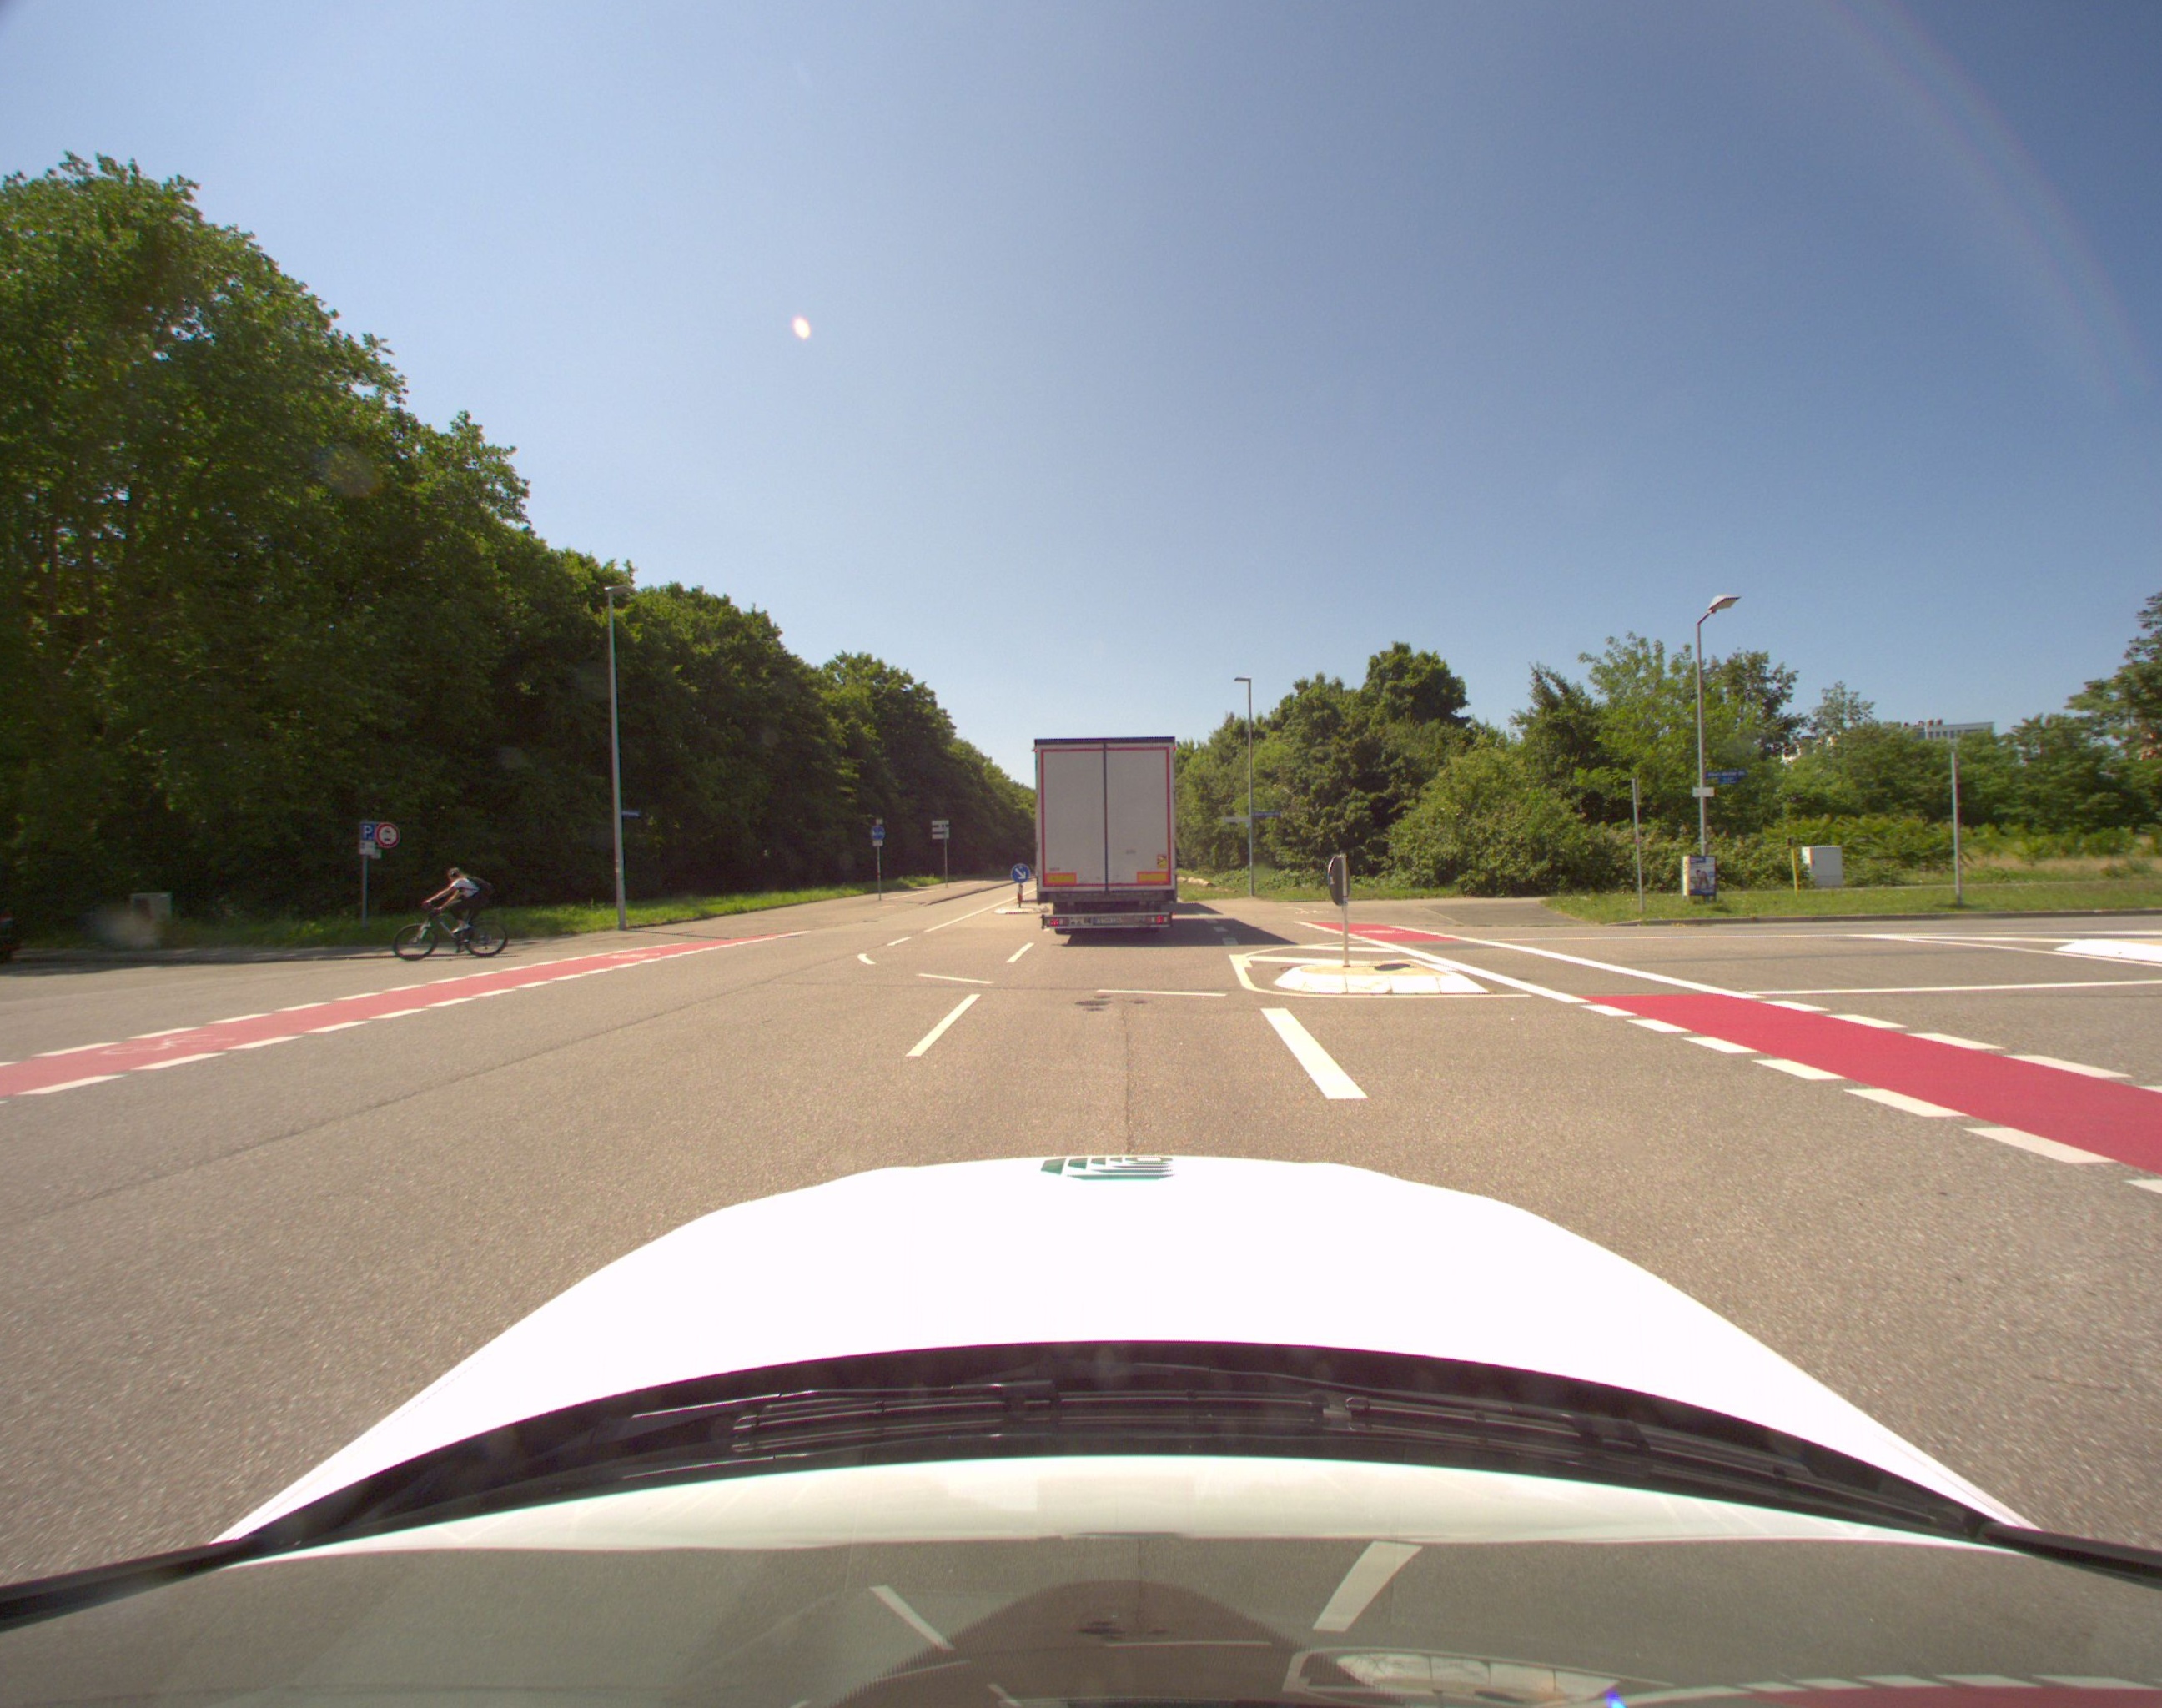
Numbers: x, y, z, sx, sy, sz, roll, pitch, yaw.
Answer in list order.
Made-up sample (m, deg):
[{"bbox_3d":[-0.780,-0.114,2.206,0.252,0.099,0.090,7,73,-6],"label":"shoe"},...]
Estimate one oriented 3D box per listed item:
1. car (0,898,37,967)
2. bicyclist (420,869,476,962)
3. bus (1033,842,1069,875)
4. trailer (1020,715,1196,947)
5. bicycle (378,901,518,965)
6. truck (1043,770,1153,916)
[{"bbox_3d":[-24.741,1.725,17.091,4.271,1.417,1.672,-2,-2,10],"label":"car"},{"bbox_3d":[-12.182,1.156,15.701,0.772,1.706,0.660,0,0,-31],"label":"bicyclist"},{"bbox_3d":[-3.020,0.496,84.887,2.739,3.045,11.943,-3,0,2],"label":"bus"},{"bbox_3d":[0.495,-0.360,19.295,3.067,4.070,9.807,-1,-1,0],"label":"trailer"},{"bbox_3d":[-12.125,1.486,15.687,2.052,1.055,0.664,0,0,-31],"label":"bicycle"},{"bbox_3d":[0.484,-0.306,26.929,3.067,4.070,7.957,-1,0,0],"label":"truck"}]
